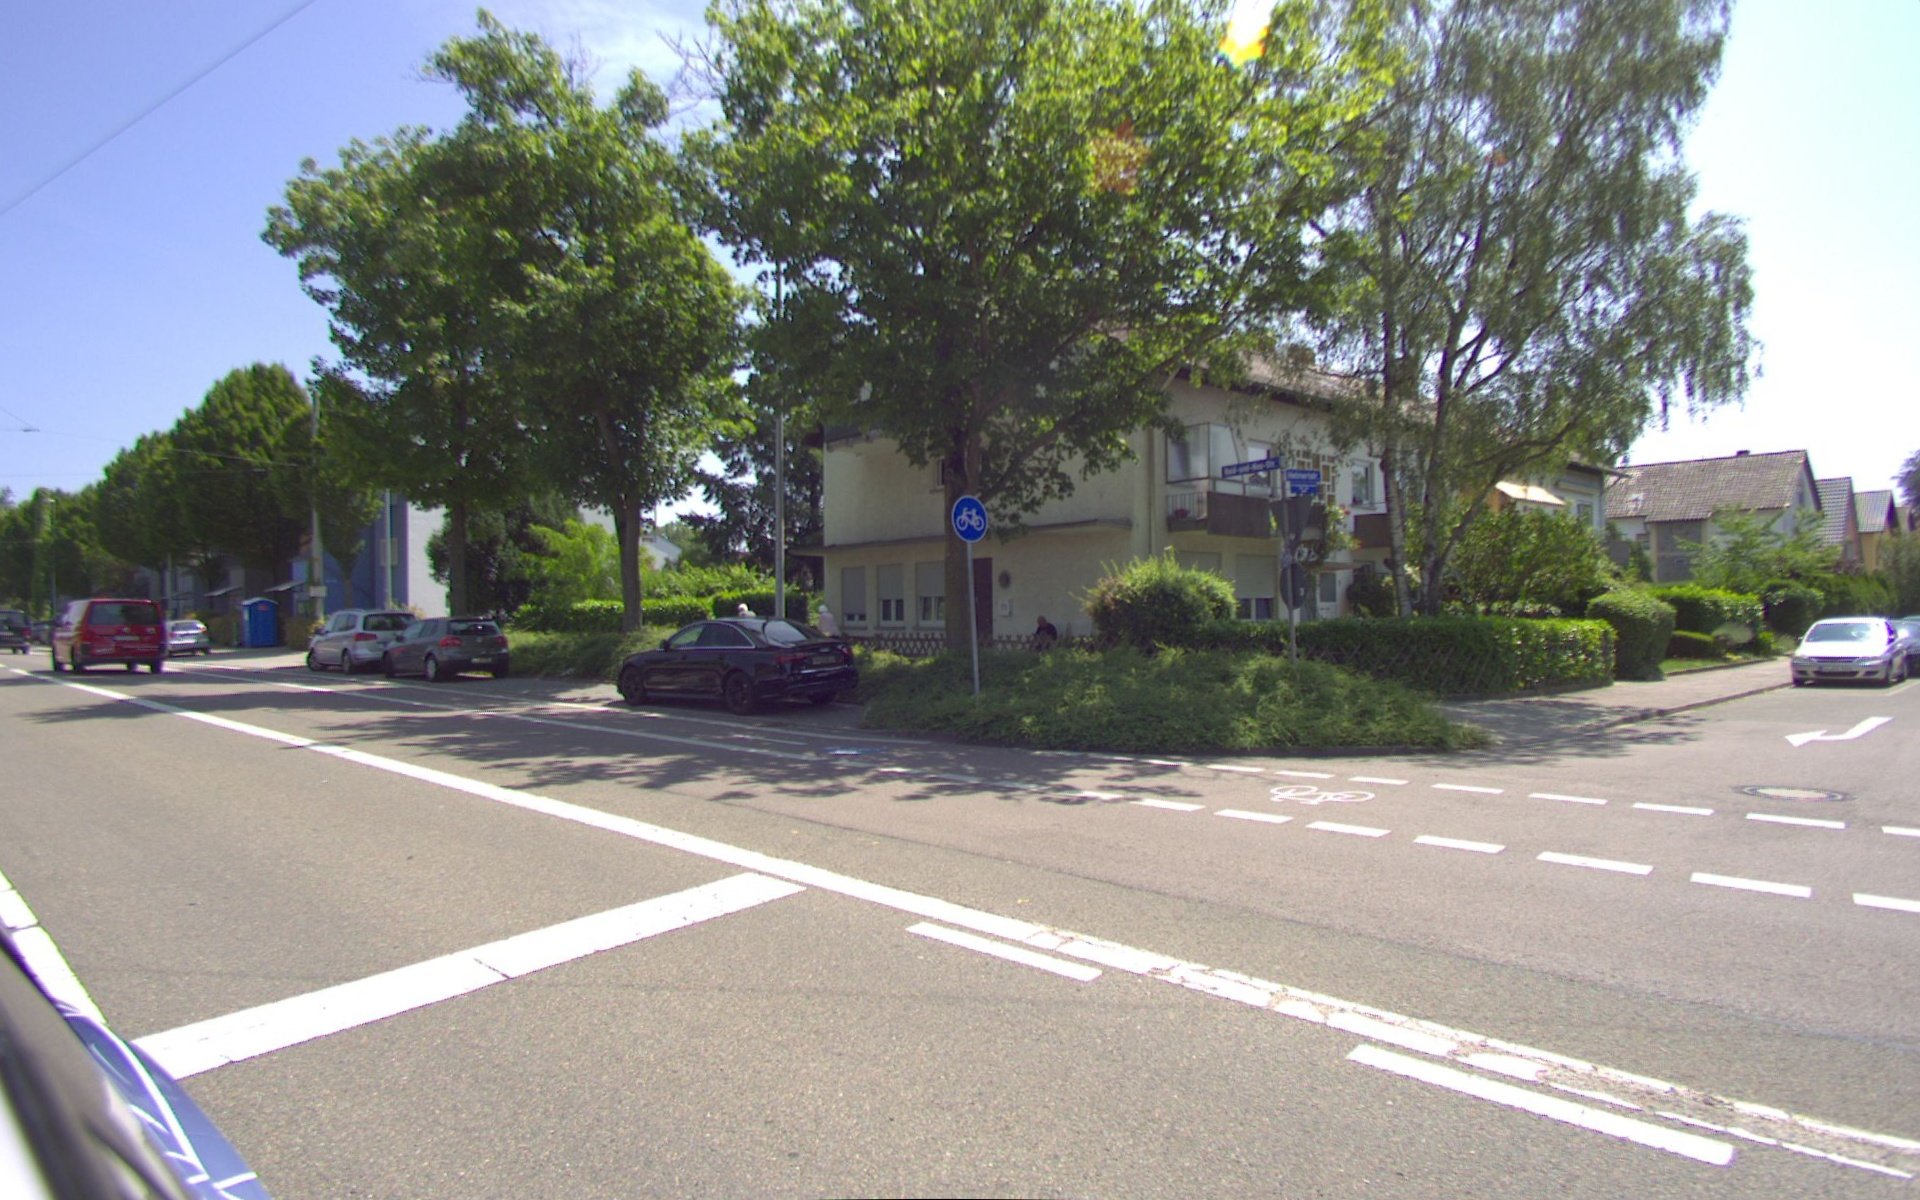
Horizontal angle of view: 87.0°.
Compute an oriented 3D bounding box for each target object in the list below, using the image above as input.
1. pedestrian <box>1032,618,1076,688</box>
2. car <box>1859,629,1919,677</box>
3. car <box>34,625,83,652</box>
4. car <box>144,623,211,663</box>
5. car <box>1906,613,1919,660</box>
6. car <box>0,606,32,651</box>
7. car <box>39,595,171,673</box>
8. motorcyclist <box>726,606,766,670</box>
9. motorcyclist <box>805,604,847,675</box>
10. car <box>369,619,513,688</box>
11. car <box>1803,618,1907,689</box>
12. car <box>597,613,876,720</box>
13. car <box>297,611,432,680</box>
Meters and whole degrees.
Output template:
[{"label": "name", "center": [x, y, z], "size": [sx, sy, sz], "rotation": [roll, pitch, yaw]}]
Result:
[{"label": "pedestrian", "center": [2.092, 1.164, 22.571], "size": [0.784, 1.522, 0.609], "rotation": [1, -2, -42]}, {"label": "car", "center": [23.245, 1.244, 24.552], "size": [3.689, 1.000, 1.548], "rotation": [-1, -1, -39]}, {"label": "car", "center": [-56.709, 2.382, 63.636], "size": [4.079, 1.507, 1.636], "rotation": [-1, 2, 40]}, {"label": "car", "center": [-32.900, 1.768, 42.524], "size": [3.279, 1.507, 1.487], "rotation": [-1, 3, 40]}, {"label": "car", "center": [30.066, 1.076, 30.688], "size": [3.846, 1.404, 1.548], "rotation": [1, -2, -40]}, {"label": "car", "center": [-42.788, 1.251, 44.848], "size": [4.568, 1.925, 1.898], "rotation": [-1, -2, 41]}, {"label": "car", "center": [-23.079, 0.919, 27.245], "size": [4.815, 1.941, 1.879], "rotation": [-1, -3, 40]}, {"label": "motorcyclist", "center": [-5.183, 0.910, 24.540], "size": [0.725, 1.514, 0.580], "rotation": [-2, 1, 42]}, {"label": "motorcyclist", "center": [-2.975, 0.865, 22.501], "size": [0.662, 1.514, 0.580], "rotation": [-2, 1, 42]}, {"label": "car", "center": [-12.575, 1.235, 24.405], "size": [4.126, 1.498, 1.659], "rotation": [-1, 0, 41]}, {"label": "car", "center": [19.285, 1.094, 21.927], "size": [1.544, 1.404, 3.855], "rotation": [-1, -2, 40]}, {"label": "car", "center": [-3.777, 1.002, 16.602], "size": [4.804, 1.467, 1.875], "rotation": [-1, 0, 39]}, {"label": "car", "center": [-16.574, 1.209, 28.060], "size": [4.687, 1.701, 1.950], "rotation": [-1, 0, 43]}]
